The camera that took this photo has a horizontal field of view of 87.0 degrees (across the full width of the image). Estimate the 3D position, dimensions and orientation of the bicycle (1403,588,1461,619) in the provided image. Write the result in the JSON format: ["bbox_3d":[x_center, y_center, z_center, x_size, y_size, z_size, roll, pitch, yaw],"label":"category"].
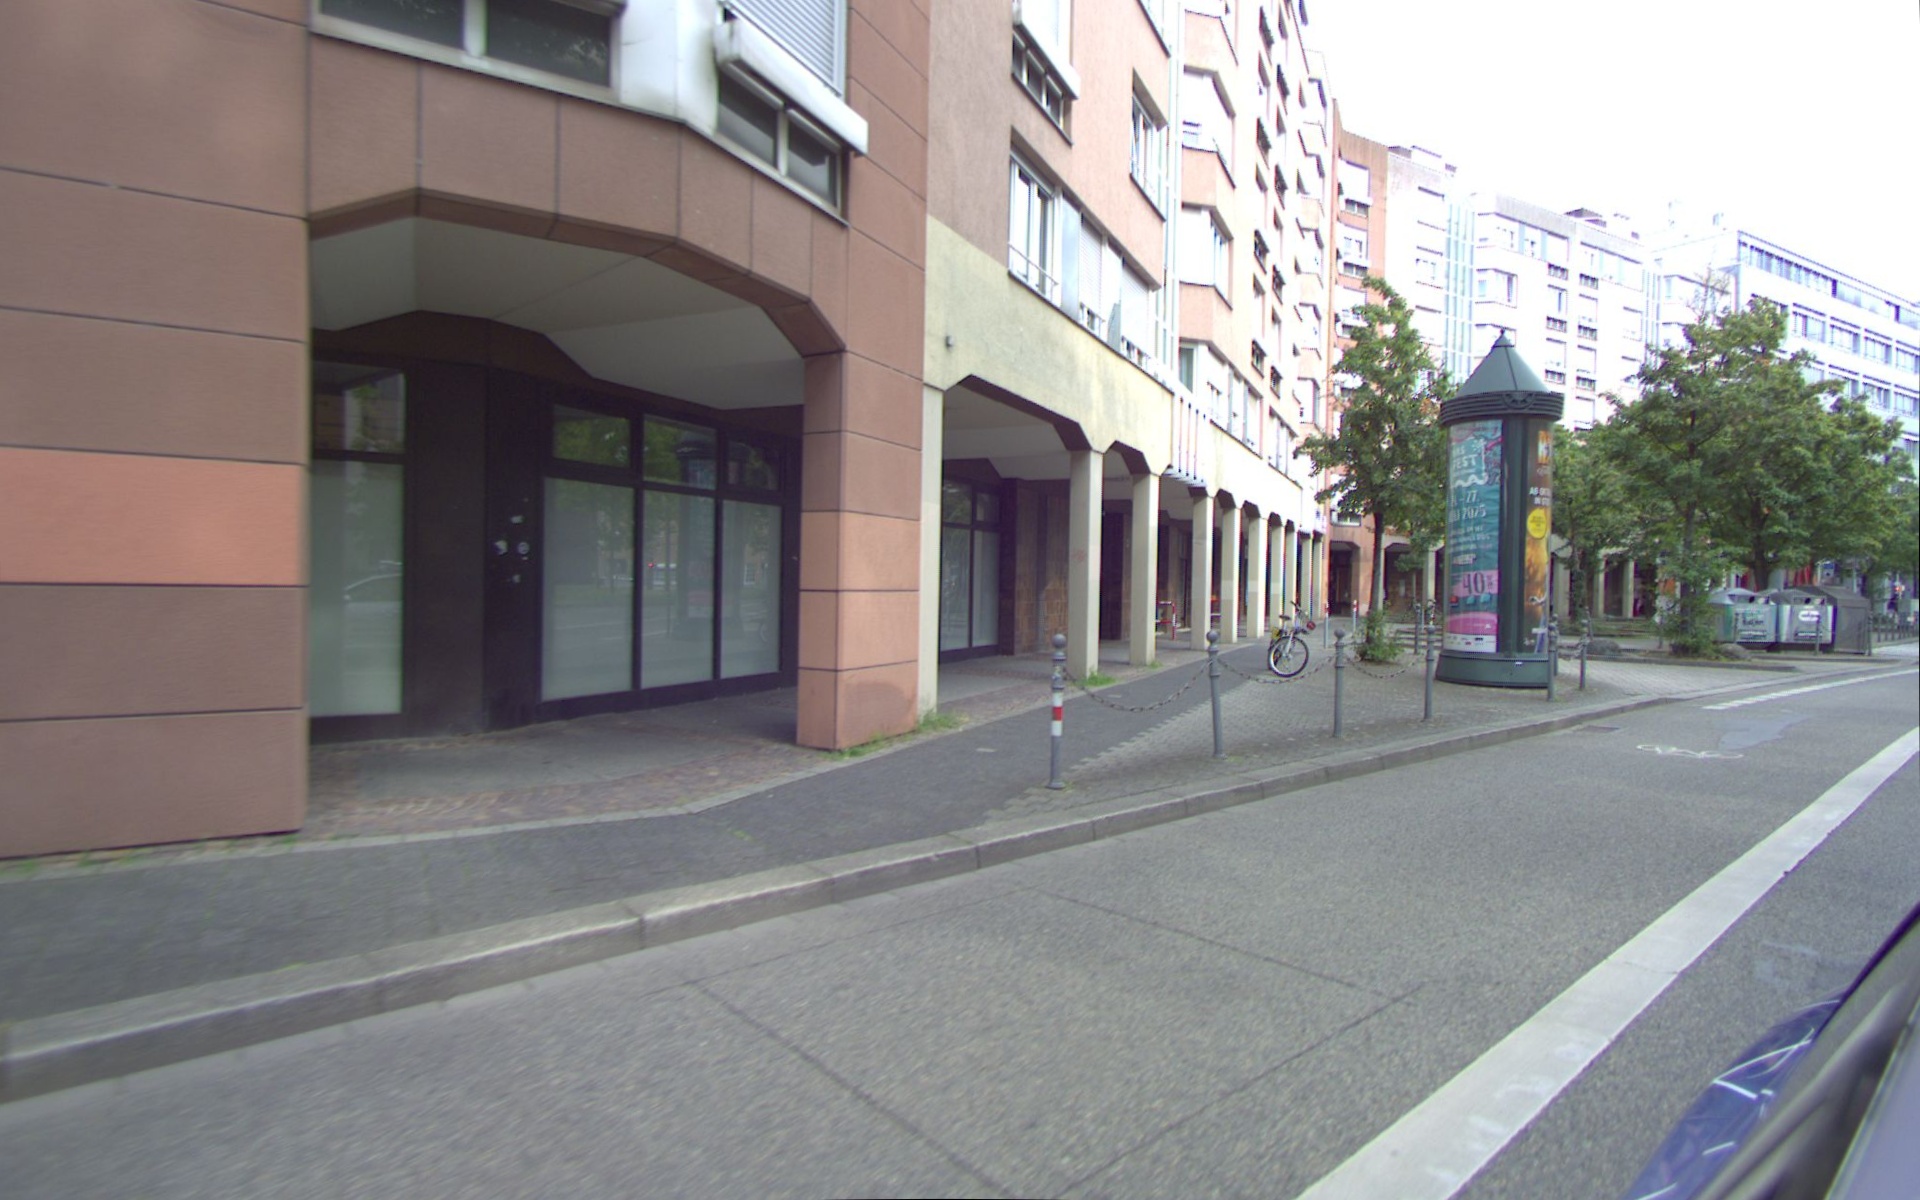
[{"bbox_3d":[18.185,0.135,39.003,1.929,1.126,0.597,1,1,4],"label":"bicycle"}]

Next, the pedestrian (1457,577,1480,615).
[{"bbox_3d":[22.945,-0.174,45.684,0.834,1.683,0.535,1,1,-29],"label":"pedestrian"}]

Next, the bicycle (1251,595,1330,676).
[{"bbox_3d":[5.184,0.528,15.956,0.658,1.142,1.666,1,2,0],"label":"bicycle"}]

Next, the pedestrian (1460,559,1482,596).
[{"bbox_3d":[23.709,-1.040,46.964,0.668,1.683,0.608,1,1,-32],"label":"pedestrian"}]
